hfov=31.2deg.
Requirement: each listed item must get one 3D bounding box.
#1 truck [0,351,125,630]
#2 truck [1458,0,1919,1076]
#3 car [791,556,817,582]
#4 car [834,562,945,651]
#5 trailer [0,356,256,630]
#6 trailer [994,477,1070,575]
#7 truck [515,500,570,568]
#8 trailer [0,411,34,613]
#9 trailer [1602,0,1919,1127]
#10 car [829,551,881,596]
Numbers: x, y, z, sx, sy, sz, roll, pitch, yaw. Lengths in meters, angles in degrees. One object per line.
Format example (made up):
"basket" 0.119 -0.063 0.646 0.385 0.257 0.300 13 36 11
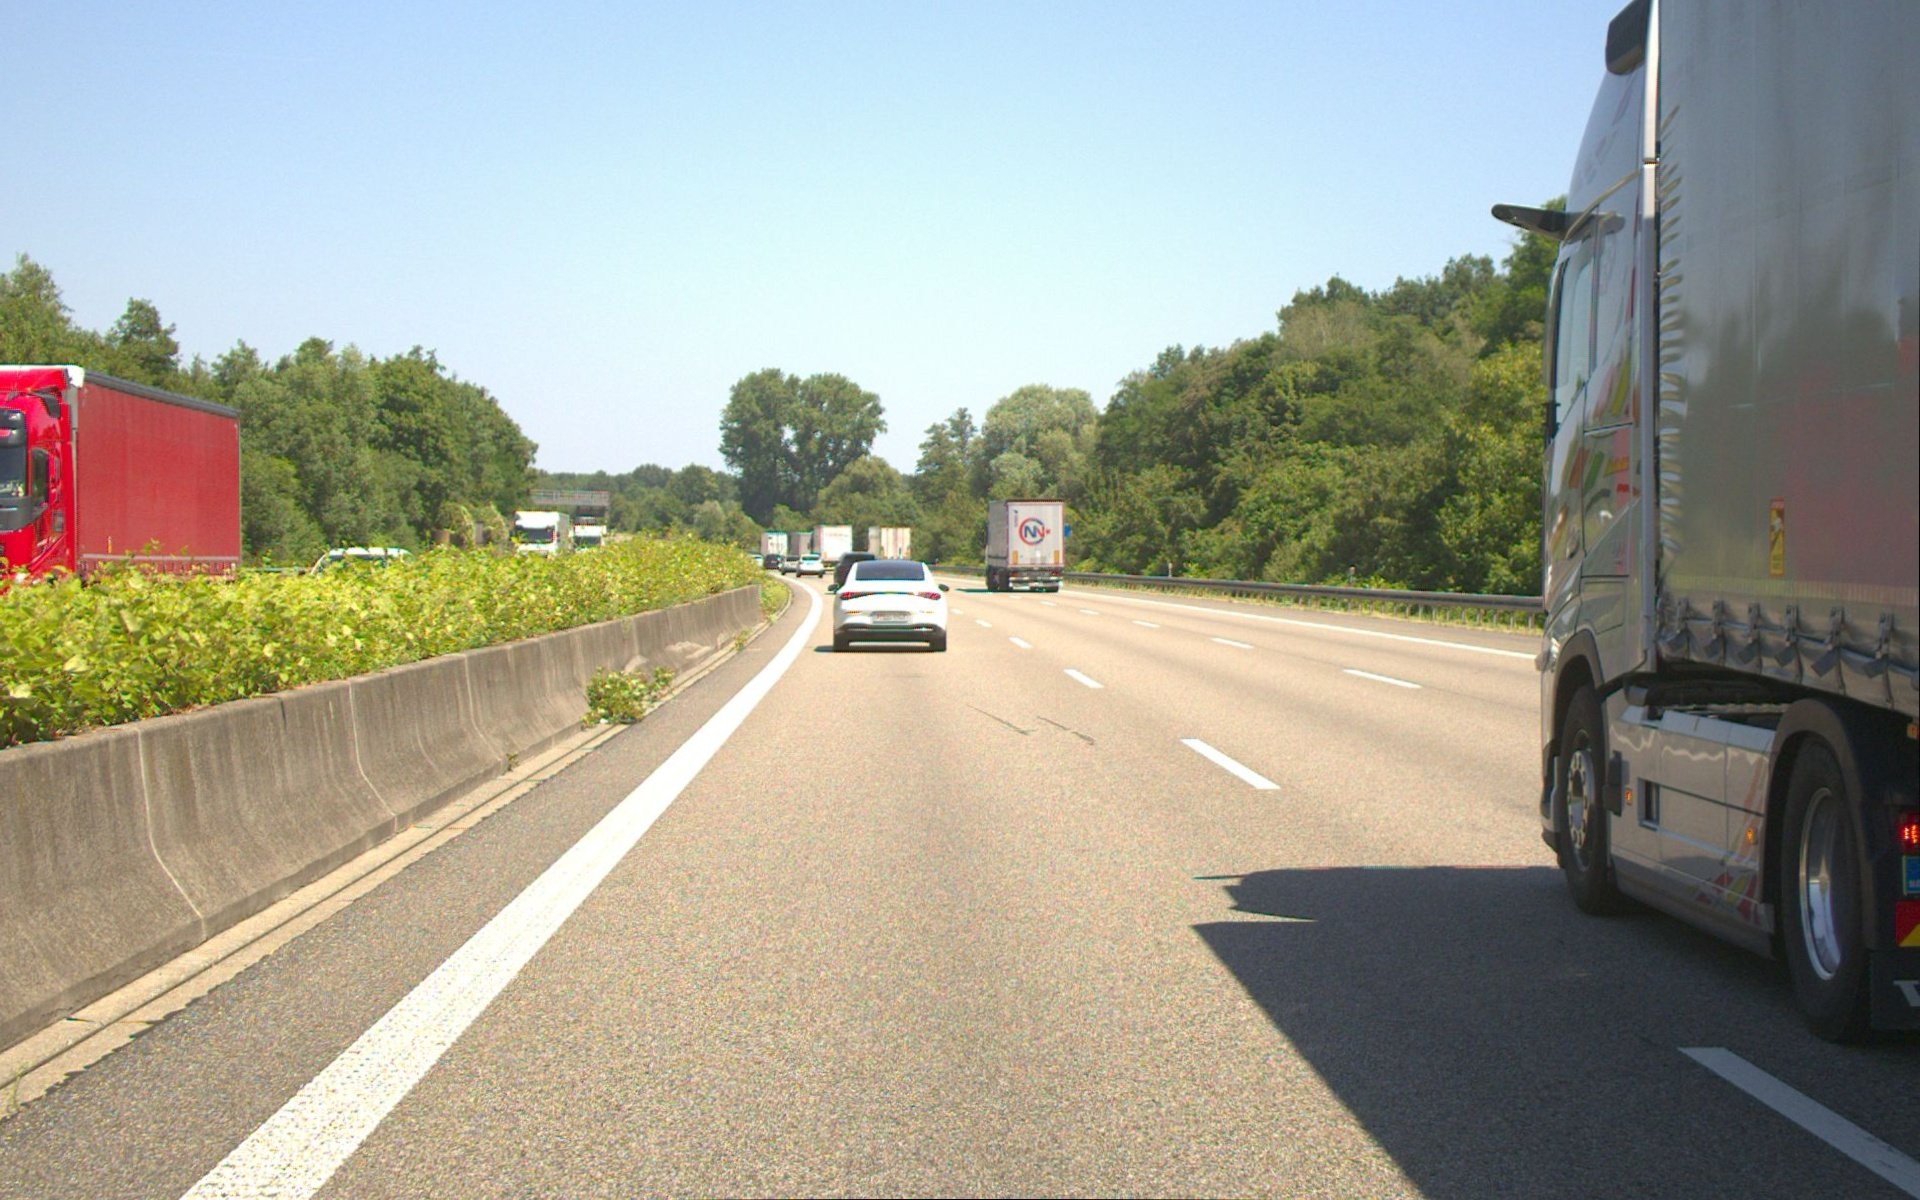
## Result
"truck" -13.817 -1.534 49.346 2.465 3.775 5.730 1 1 -2
"truck" 3.829 -0.641 13.150 2.722 3.961 6.502 1 1 -1
"car" -11.117 -2.215 245.495 1.723 1.777 4.001 0 1 -4
"car" -1.106 0.077 55.601 1.715 1.365 3.375 1 1 0
"trailer" -14.049 -1.645 56.479 2.465 3.922 14.402 0 1 -2
"trailer" 3.219 -3.315 156.875 2.624 4.246 14.062 1 1 -2
"truck" -25.161 -3.977 207.281 2.660 3.971 6.555 1 1 -2
"trailer" -18.100 -1.504 56.377 2.371 3.583 14.222 1 1 -2
"trailer" 3.964 -0.542 6.241 2.740 3.961 13.655 1 1 -1
"car" -4.305 -1.109 139.928 1.993 1.766 4.001 1 1 -3
